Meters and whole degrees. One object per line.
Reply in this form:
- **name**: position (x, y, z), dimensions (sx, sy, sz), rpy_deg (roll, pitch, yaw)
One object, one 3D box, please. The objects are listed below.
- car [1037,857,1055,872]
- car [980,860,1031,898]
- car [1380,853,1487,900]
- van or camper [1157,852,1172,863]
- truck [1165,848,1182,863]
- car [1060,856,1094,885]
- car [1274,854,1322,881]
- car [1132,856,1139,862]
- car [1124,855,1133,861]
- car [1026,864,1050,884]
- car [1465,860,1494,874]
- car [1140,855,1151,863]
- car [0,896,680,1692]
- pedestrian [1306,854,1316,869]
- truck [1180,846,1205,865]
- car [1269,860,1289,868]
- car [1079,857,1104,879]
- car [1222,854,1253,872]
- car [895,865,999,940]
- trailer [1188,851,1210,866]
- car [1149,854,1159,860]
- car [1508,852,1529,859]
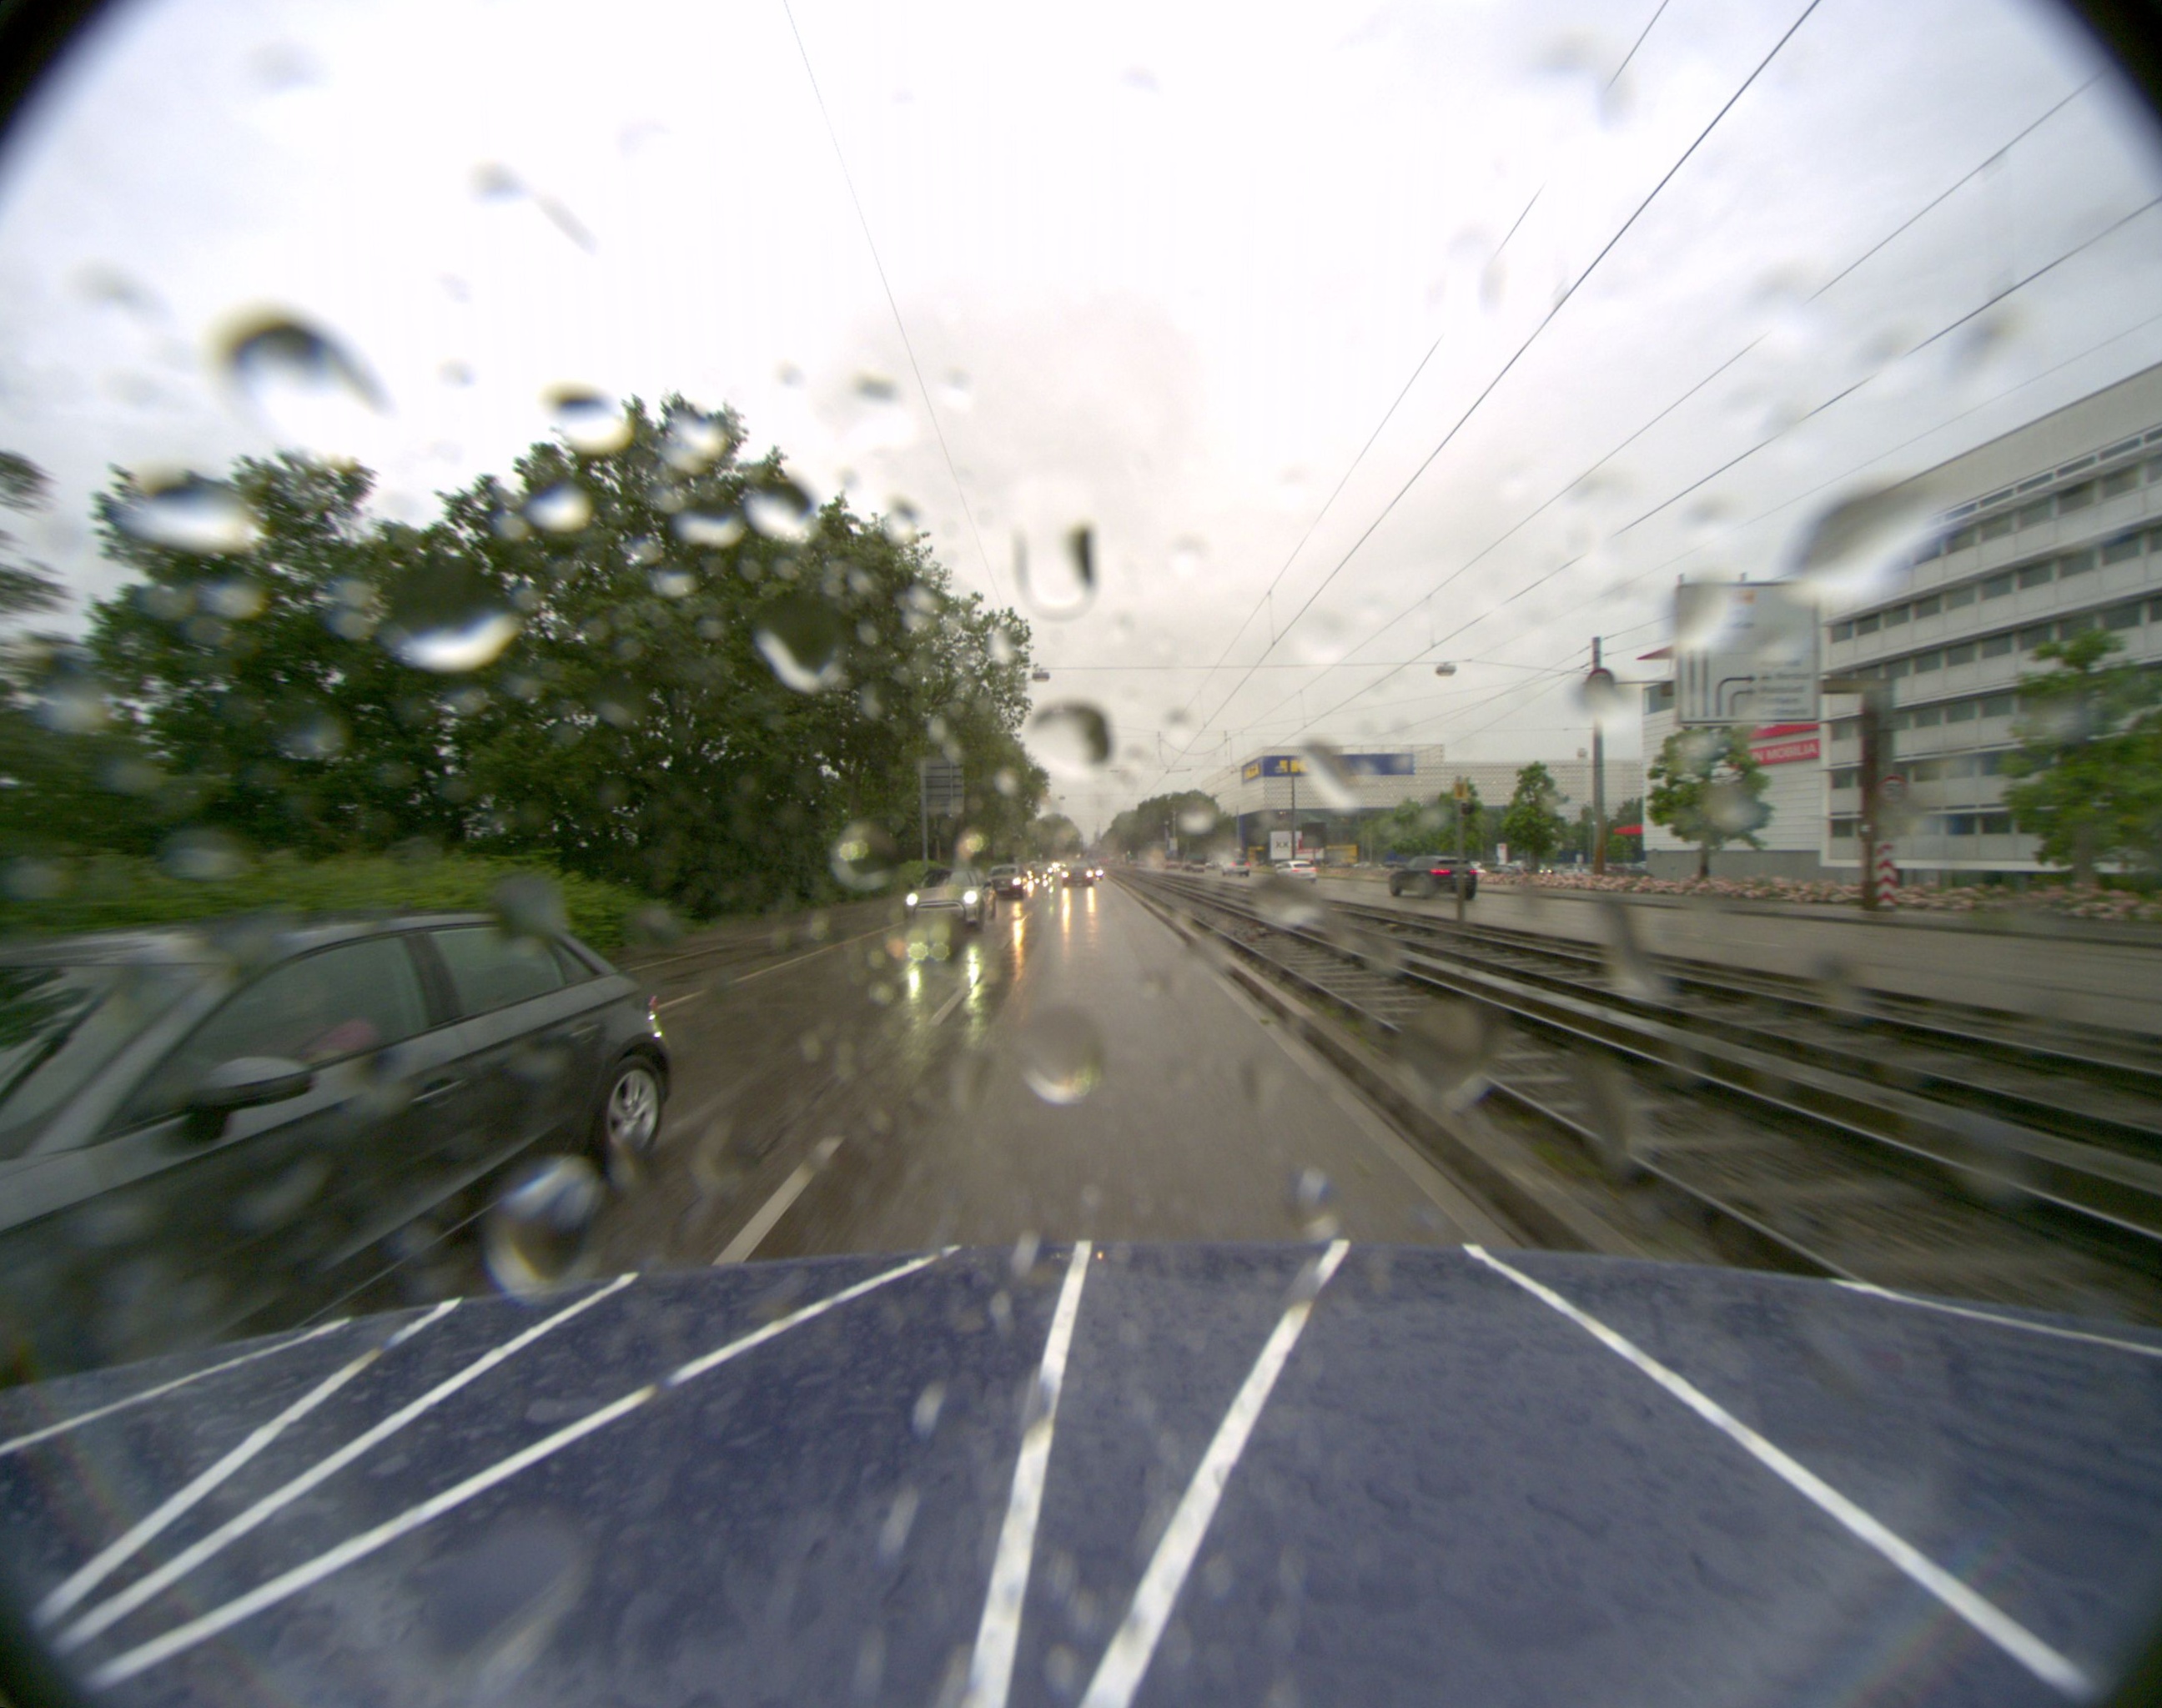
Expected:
- **car**: position (-3.686, 1.143, 80.464), dimensions (1.715, 1.515, 4.043), rpy_deg (-3, -1, 0)
- **car**: position (-3.137, 1.032, 32.254), dimensions (1.776, 1.453, 4.092), rpy_deg (-3, -1, -2)
- **car**: position (13.838, 0.824, 30.181), dimensions (1.998, 1.711, 4.882), rpy_deg (0, 0, 0)
- **van or camper**: position (16.589, 0.674, 151.100), dimensions (2.310, 2.002, 5.686), rpy_deg (-1, 0, 1)
- **truck**: position (16.032, 0.277, 131.539), dimensions (2.232, 2.447, 6.066), rpy_deg (1, 0, 1)
- **car**: position (-0.244, 0.972, 45.547), dimensions (1.877, 1.573, 4.043), rpy_deg (-3, -1, -1)
- **car**: position (14.173, 0.821, 49.870), dimensions (1.776, 1.673, 4.688), rpy_deg (-1, 0, 0)
- **car**: position (15.970, 1.476, 222.326), dimensions (1.878, 1.564, 4.329), rpy_deg (-3, -1, 2)
- **car**: position (12.143, 1.060, 193.627), dimensions (1.863, 1.485, 4.689), rpy_deg (0, 0, 0)
- **car**: position (-3.544, 1.656, 62.998), dimensions (1.715, 1.475, 4.043), rpy_deg (-3, -1, 0)
- **car**: position (60.179, 1.949, 114.912), dimensions (1.999, 2.002, 4.090), rpy_deg (-4, 0, -2)
- **car**: position (13.789, 0.969, 162.665), dimensions (1.823, 1.613, 4.536), rpy_deg (-1, 0, 0)
- **car**: position (-3.252, 1.012, 2.298), dimensions (1.973, 1.519, 3.991), rpy_deg (-2, -1, -1)
- **pedestrian**: position (27.619, 0.901, 91.242), dimensions (0.824, 1.752, 1.050), rpy_deg (-4, 1, 3)
- **truck**: position (15.066, 0.161, 102.861), dimensions (2.441, 2.443, 7.219), rpy_deg (0, 0, 1)
- **car**: position (45.907, 2.213, 176.373), dimensions (4.106, 1.594, 2.000), rpy_deg (-3, 1, 1)
- **car**: position (0.785, 1.026, 56.556), dimensions (1.715, 1.515, 4.043), rpy_deg (-3, -1, 0)
- **car**: position (14.462, 0.828, 70.607), dimensions (1.998, 1.574, 4.766), rpy_deg (0, 0, 1)
- **car**: position (-3.008, 1.039, 17.831), dimensions (1.796, 1.406, 3.853), rpy_deg (-2, 1, -1)
- **trailer**: position (15.012, 0.592, 97.014), dimensions (2.124, 1.782, 3.836), rpy_deg (-3, 0, 1)
- **car**: position (17.185, 0.713, 178.193), dimensions (1.968, 1.507, 4.554), rpy_deg (0, 0, 0)
- **car**: position (102.419, 0.428, 177.889), dimensions (3.821, 1.399, 1.602), rpy_deg (-3, 1, 3)
